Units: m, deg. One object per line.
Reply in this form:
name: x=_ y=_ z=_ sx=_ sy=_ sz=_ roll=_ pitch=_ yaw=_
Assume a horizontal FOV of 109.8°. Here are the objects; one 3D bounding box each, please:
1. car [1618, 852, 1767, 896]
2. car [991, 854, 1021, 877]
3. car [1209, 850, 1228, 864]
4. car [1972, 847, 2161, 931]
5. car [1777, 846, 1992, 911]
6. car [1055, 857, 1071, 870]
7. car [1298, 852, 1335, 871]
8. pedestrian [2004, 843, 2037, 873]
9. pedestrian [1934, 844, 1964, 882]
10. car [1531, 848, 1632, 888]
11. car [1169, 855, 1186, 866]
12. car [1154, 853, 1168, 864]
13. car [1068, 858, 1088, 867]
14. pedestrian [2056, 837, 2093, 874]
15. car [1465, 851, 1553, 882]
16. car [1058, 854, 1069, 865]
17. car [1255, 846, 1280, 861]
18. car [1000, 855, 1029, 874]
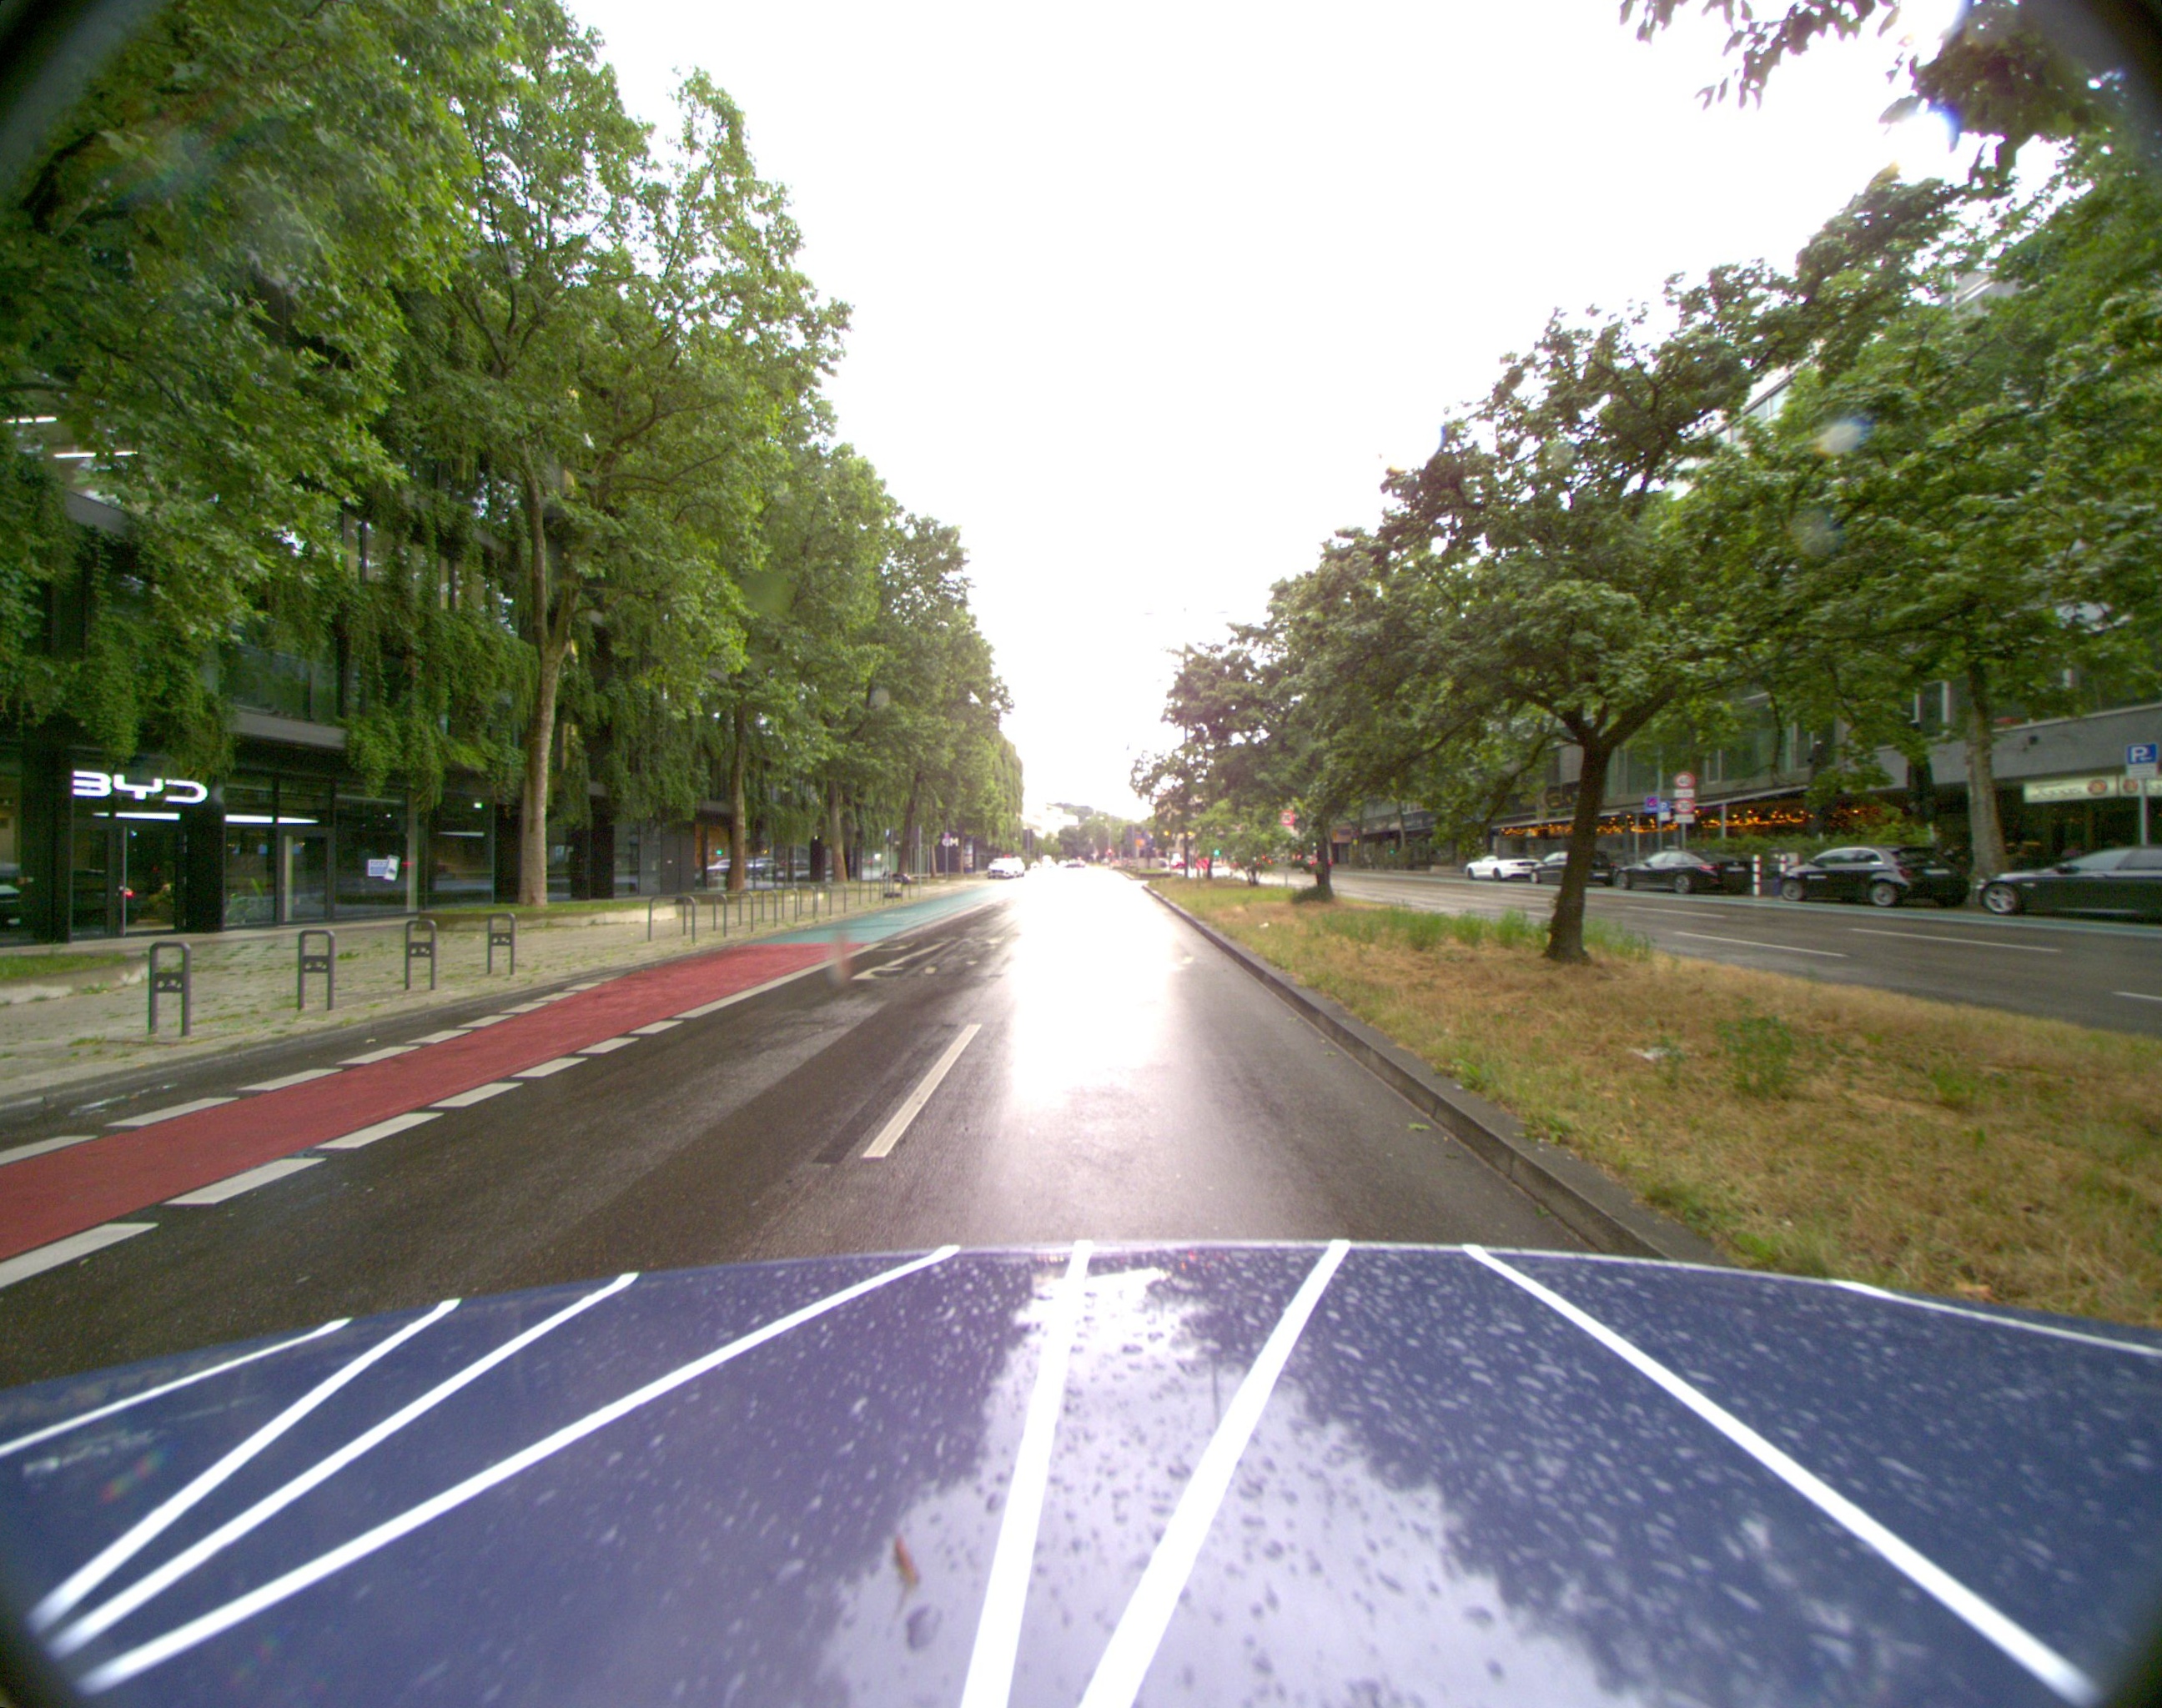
car: x=20.220 y=0.600 z=25.384 sx=1.647 sy=1.232 sz=4.319 roll=-2 pitch=1 yaw=3
car: x=-6.323 y=0.965 z=64.322 sx=1.932 sy=1.726 sz=4.598 roll=-2 pitch=1 yaw=0
car: x=19.861 y=0.399 z=110.062 sx=1.998 sy=1.805 sz=3.999 roll=-2 pitch=1 yaw=0
car: x=19.877 y=0.607 z=13.979 sx=1.875 sy=1.377 sz=4.537 roll=-2 pitch=1 yaw=5
car: x=20.077 y=0.559 z=19.218 sx=1.875 sy=1.414 sz=3.400 roll=-2 pitch=1 yaw=2
car: x=-2.201 y=1.190 z=95.475 sx=1.780 sy=1.546 sz=3.929 roll=-2 pitch=1 yaw=1
car: x=18.453 y=0.566 z=59.632 sx=1.765 sy=1.318 sz=3.738 roll=-2 pitch=1 yaw=2
pedestrian: x=27.936 y=0.112 z=22.590 sx=0.440 sy=0.845 sz=0.433 roll=-2 pitch=1 yaw=-1
pedestrian: x=27.750 y=0.287 z=24.298 sx=0.445 sy=1.179 sz=0.466 roll=-2 pitch=1 yaw=-9
car: x=20.441 y=0.515 z=31.230 sx=1.750 sy=1.445 sz=3.788 roll=-2 pitch=1 yaw=2
car: x=12.788 y=0.874 z=100.552 sx=1.678 sy=1.381 sz=3.527 roll=-2 pitch=1 yaw=-2
car: x=12.191 y=0.678 z=115.741 sx=1.881 sy=1.567 sz=3.820 roll=-2 pitch=1 yaw=3
car: x=-0.605 y=1.630 z=145.128 sx=3.452 sy=1.450 sz=1.652 roll=-2 pitch=1 yaw=24
pedestrian: x=27.748 y=0.050 z=21.224 sx=0.464 sy=1.010 sz=0.424 roll=-2 pitch=1 yaw=-1
car: x=20.745 y=0.563 z=37.048 sx=1.881 sy=1.318 sz=4.392 roll=-2 pitch=1 yaw=2
car: x=-2.717 y=0.850 z=120.311 sx=1.556 sy=1.534 sz=3.663 roll=-2 pitch=1 yaw=1
car: x=19.615 y=-0.059 z=80.005 sx=1.868 sy=1.408 sz=4.105 roll=-2 pitch=1 yaw=4
car: x=-6.094 y=0.934 z=70.395 sx=2.036 sy=1.553 sz=4.585 roll=-2 pitch=1 yaw=2
